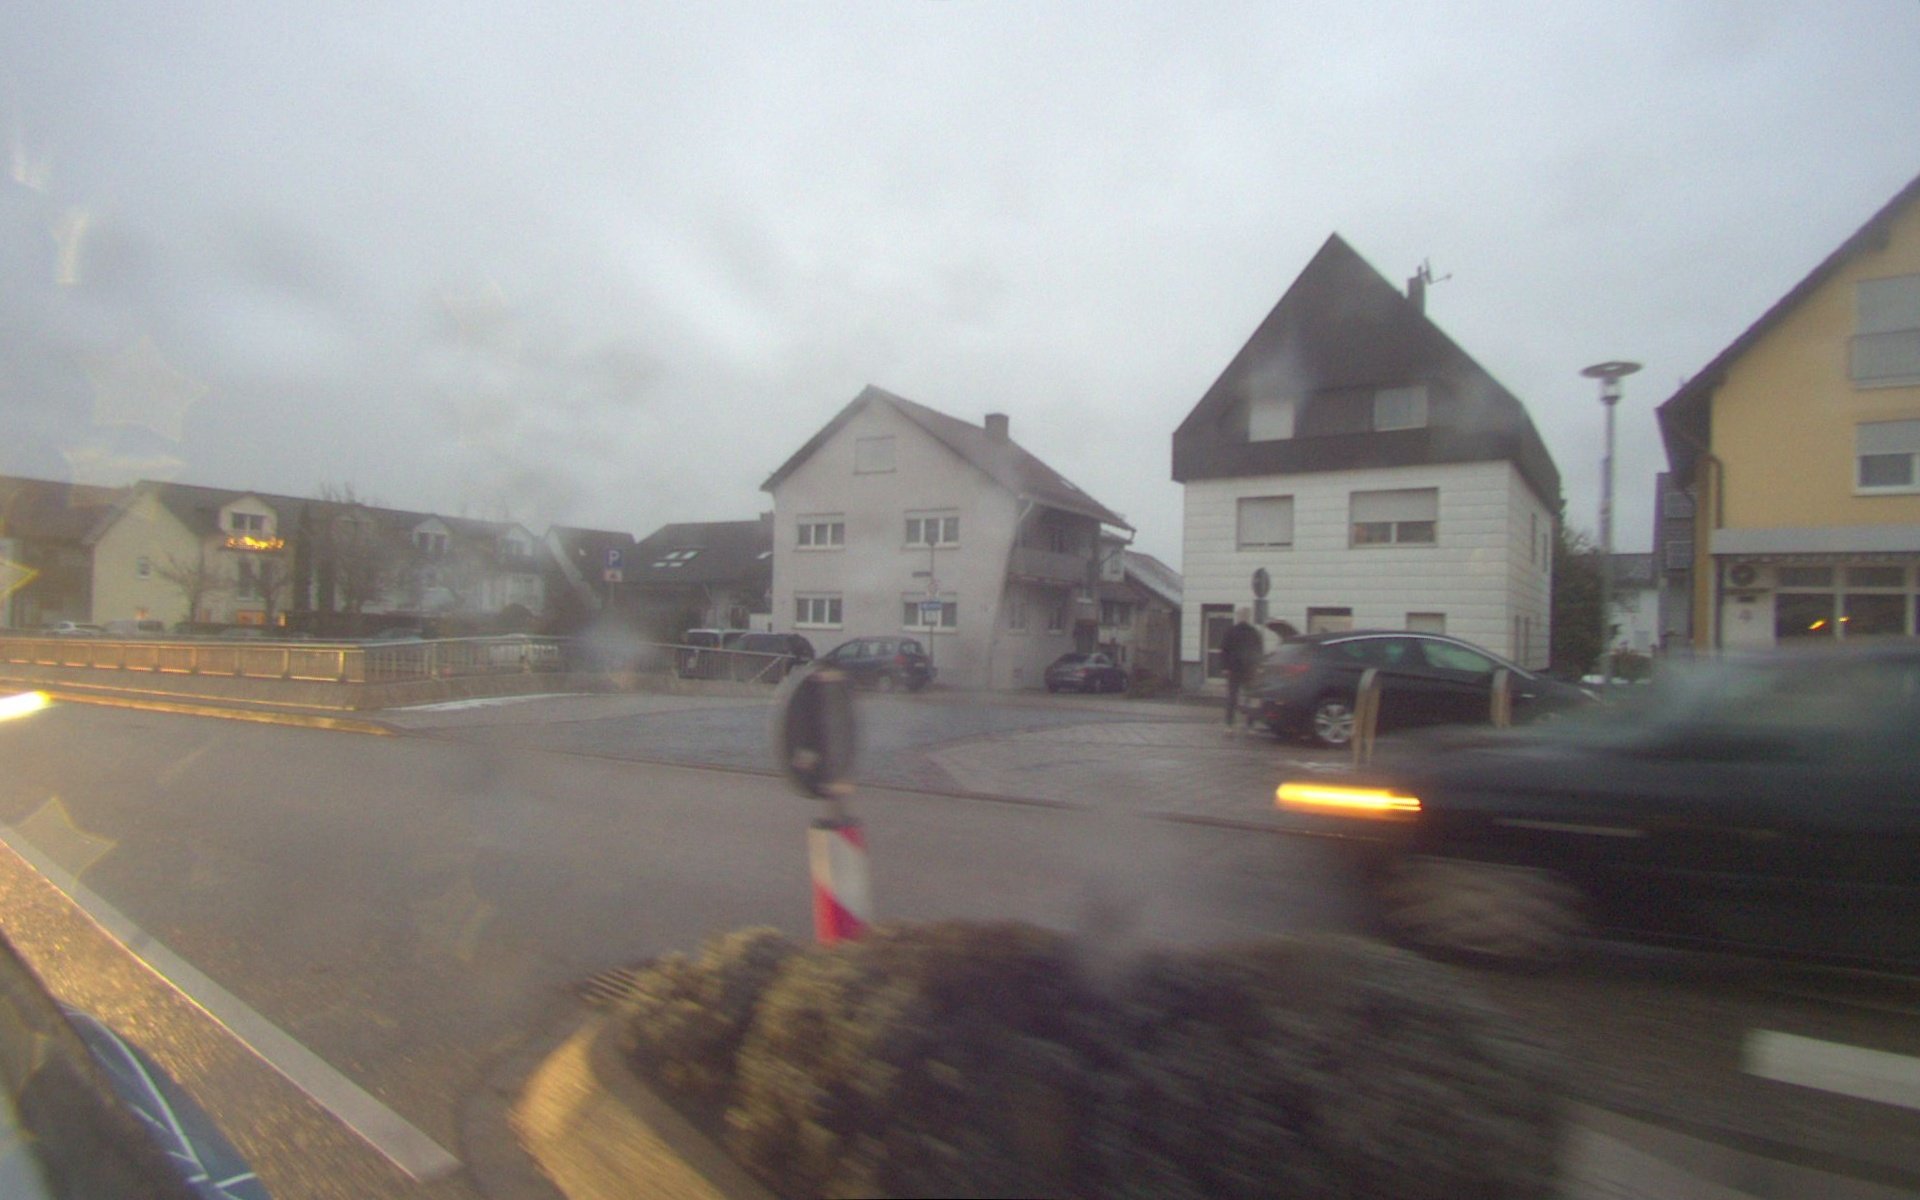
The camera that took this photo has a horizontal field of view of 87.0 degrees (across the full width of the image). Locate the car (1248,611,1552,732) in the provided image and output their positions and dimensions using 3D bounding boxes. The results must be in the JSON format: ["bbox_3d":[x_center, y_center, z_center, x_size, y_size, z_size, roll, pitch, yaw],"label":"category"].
[{"bbox_3d":[6.612,1.087,15.601,3.847,1.683,1.838,1,-4,4],"label":"car"}]

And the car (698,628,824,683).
[{"bbox_3d":[-6.585,1.781,33.378,3.943,1.673,1.687,0,-1,30],"label":"car"}]

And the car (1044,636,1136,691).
[{"bbox_3d":[4.588,2.244,35.226,1.712,1.695,3.958,2,-4,31],"label":"car"}]

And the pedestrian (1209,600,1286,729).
[{"bbox_3d":[4.019,0.893,14.141,0.840,1.725,0.715,-2,-5,36],"label":"pedestrian"}]

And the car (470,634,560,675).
[{"bbox_3d":[-17.705,2.160,40.250,3.488,1.520,1.464,0,-2,29],"label":"car"}]

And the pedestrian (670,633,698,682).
[{"bbox_3d":[-7.501,1.562,27.518,0.594,1.312,0.511,0,-2,1],"label":"pedestrian"}]

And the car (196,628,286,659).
[{"bbox_3d":[-35.575,2.137,50.083,4.233,1.480,1.784,0,-2,26],"label":"car"}]

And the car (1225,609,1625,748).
[{"bbox_3d":[5.666,0.932,12.744,4.122,1.543,1.914,1,-1,0],"label":"car"}]

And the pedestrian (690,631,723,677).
[{"bbox_3d":[-7.062,1.483,28.203,0.601,1.259,0.685,-1,-2,34],"label":"pedestrian"}]

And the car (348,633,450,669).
[{"bbox_3d":[-24.591,2.224,44.358,4.233,1.480,1.784,0,-2,26],"label":"car"}]

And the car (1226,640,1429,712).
[{"bbox_3d":[9.184,1.844,25.452,4.417,1.511,1.893,-2,1,38],"label":"car"}]

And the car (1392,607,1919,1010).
[{"bbox_3d":[3.683,0.757,4.281,3.348,1.422,1.495,-1,-2,26],"label":"car"}]

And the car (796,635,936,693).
[{"bbox_3d":[-2.896,1.898,30.976,4.081,1.581,1.760,0,-1,33],"label":"car"}]

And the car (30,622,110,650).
[{"bbox_3d":[-49.993,2.025,56.860,3.989,1.480,1.664,-1,-4,21],"label":"car"}]

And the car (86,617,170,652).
[{"bbox_3d":[-44.769,1.851,54.446,4.233,1.841,1.785,0,-2,25],"label":"car"}]

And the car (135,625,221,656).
[{"bbox_3d":[-40.437,2.092,52.327,4.233,1.480,1.784,0,-2,26],"label":"car"}]
